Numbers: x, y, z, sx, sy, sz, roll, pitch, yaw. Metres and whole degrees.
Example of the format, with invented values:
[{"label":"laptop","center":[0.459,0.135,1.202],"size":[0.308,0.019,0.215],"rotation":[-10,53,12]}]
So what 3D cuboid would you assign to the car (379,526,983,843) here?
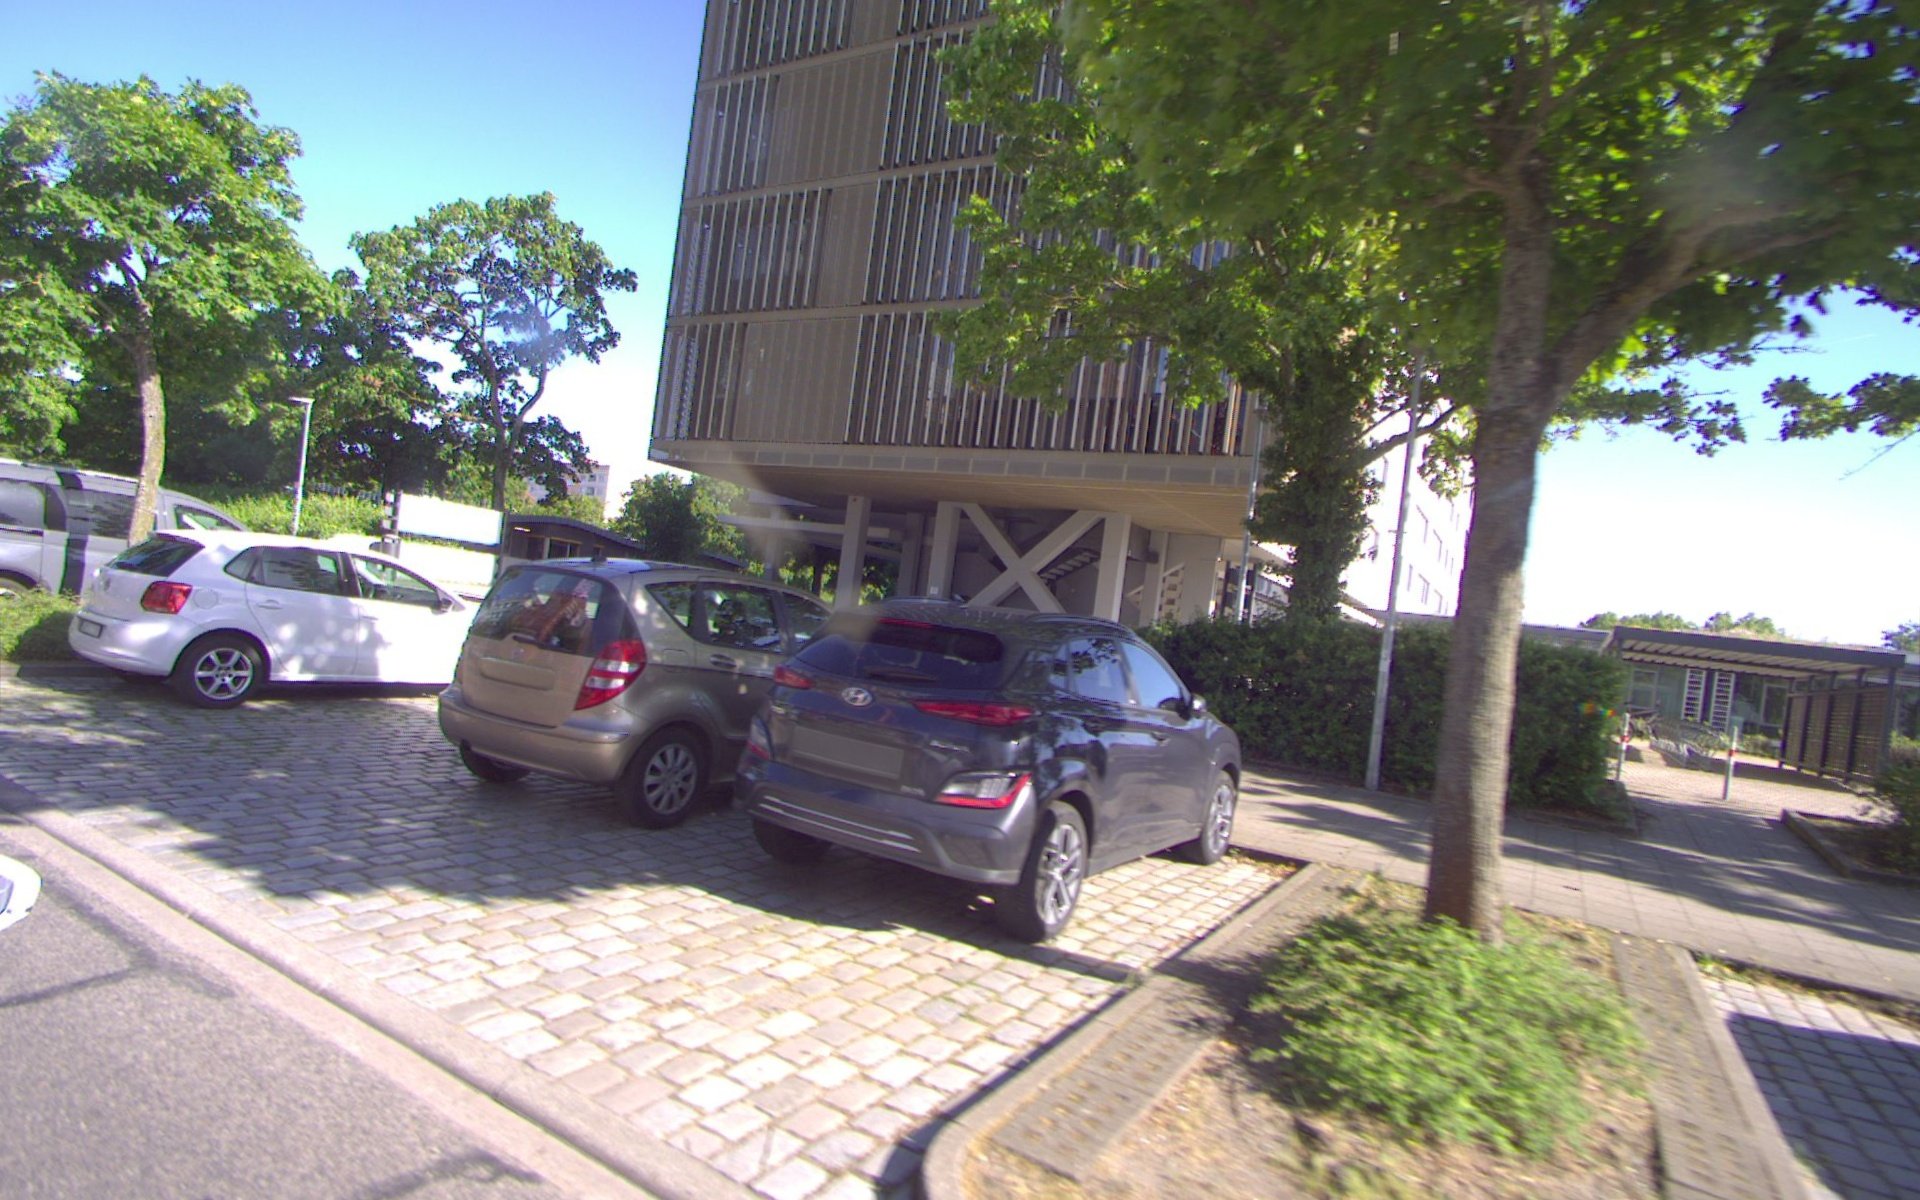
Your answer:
[{"label":"car","center":[-1.766,0.585,7.625],"size":[1.998,1.601,3.993],"rotation":[6,-1,32]}]

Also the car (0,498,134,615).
[{"label":"car","center":[-14.455,-0.790,14.190],"size":[1.766,1.492,3.915],"rotation":[8,0,35]}]

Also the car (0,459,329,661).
[{"label":"car","center":[-9.658,-0.446,11.204],"size":[1.654,1.902,3.993],"rotation":[8,0,32]}]

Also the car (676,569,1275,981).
[{"label":"car","center":[0.454,0.868,6.288],"size":[1.831,1.556,3.993],"rotation":[6,-1,32]}]

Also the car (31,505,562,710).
[{"label":"car","center":[-6.075,0.173,9.676],"size":[1.787,1.476,3.772],"rotation":[7,-1,31]}]
